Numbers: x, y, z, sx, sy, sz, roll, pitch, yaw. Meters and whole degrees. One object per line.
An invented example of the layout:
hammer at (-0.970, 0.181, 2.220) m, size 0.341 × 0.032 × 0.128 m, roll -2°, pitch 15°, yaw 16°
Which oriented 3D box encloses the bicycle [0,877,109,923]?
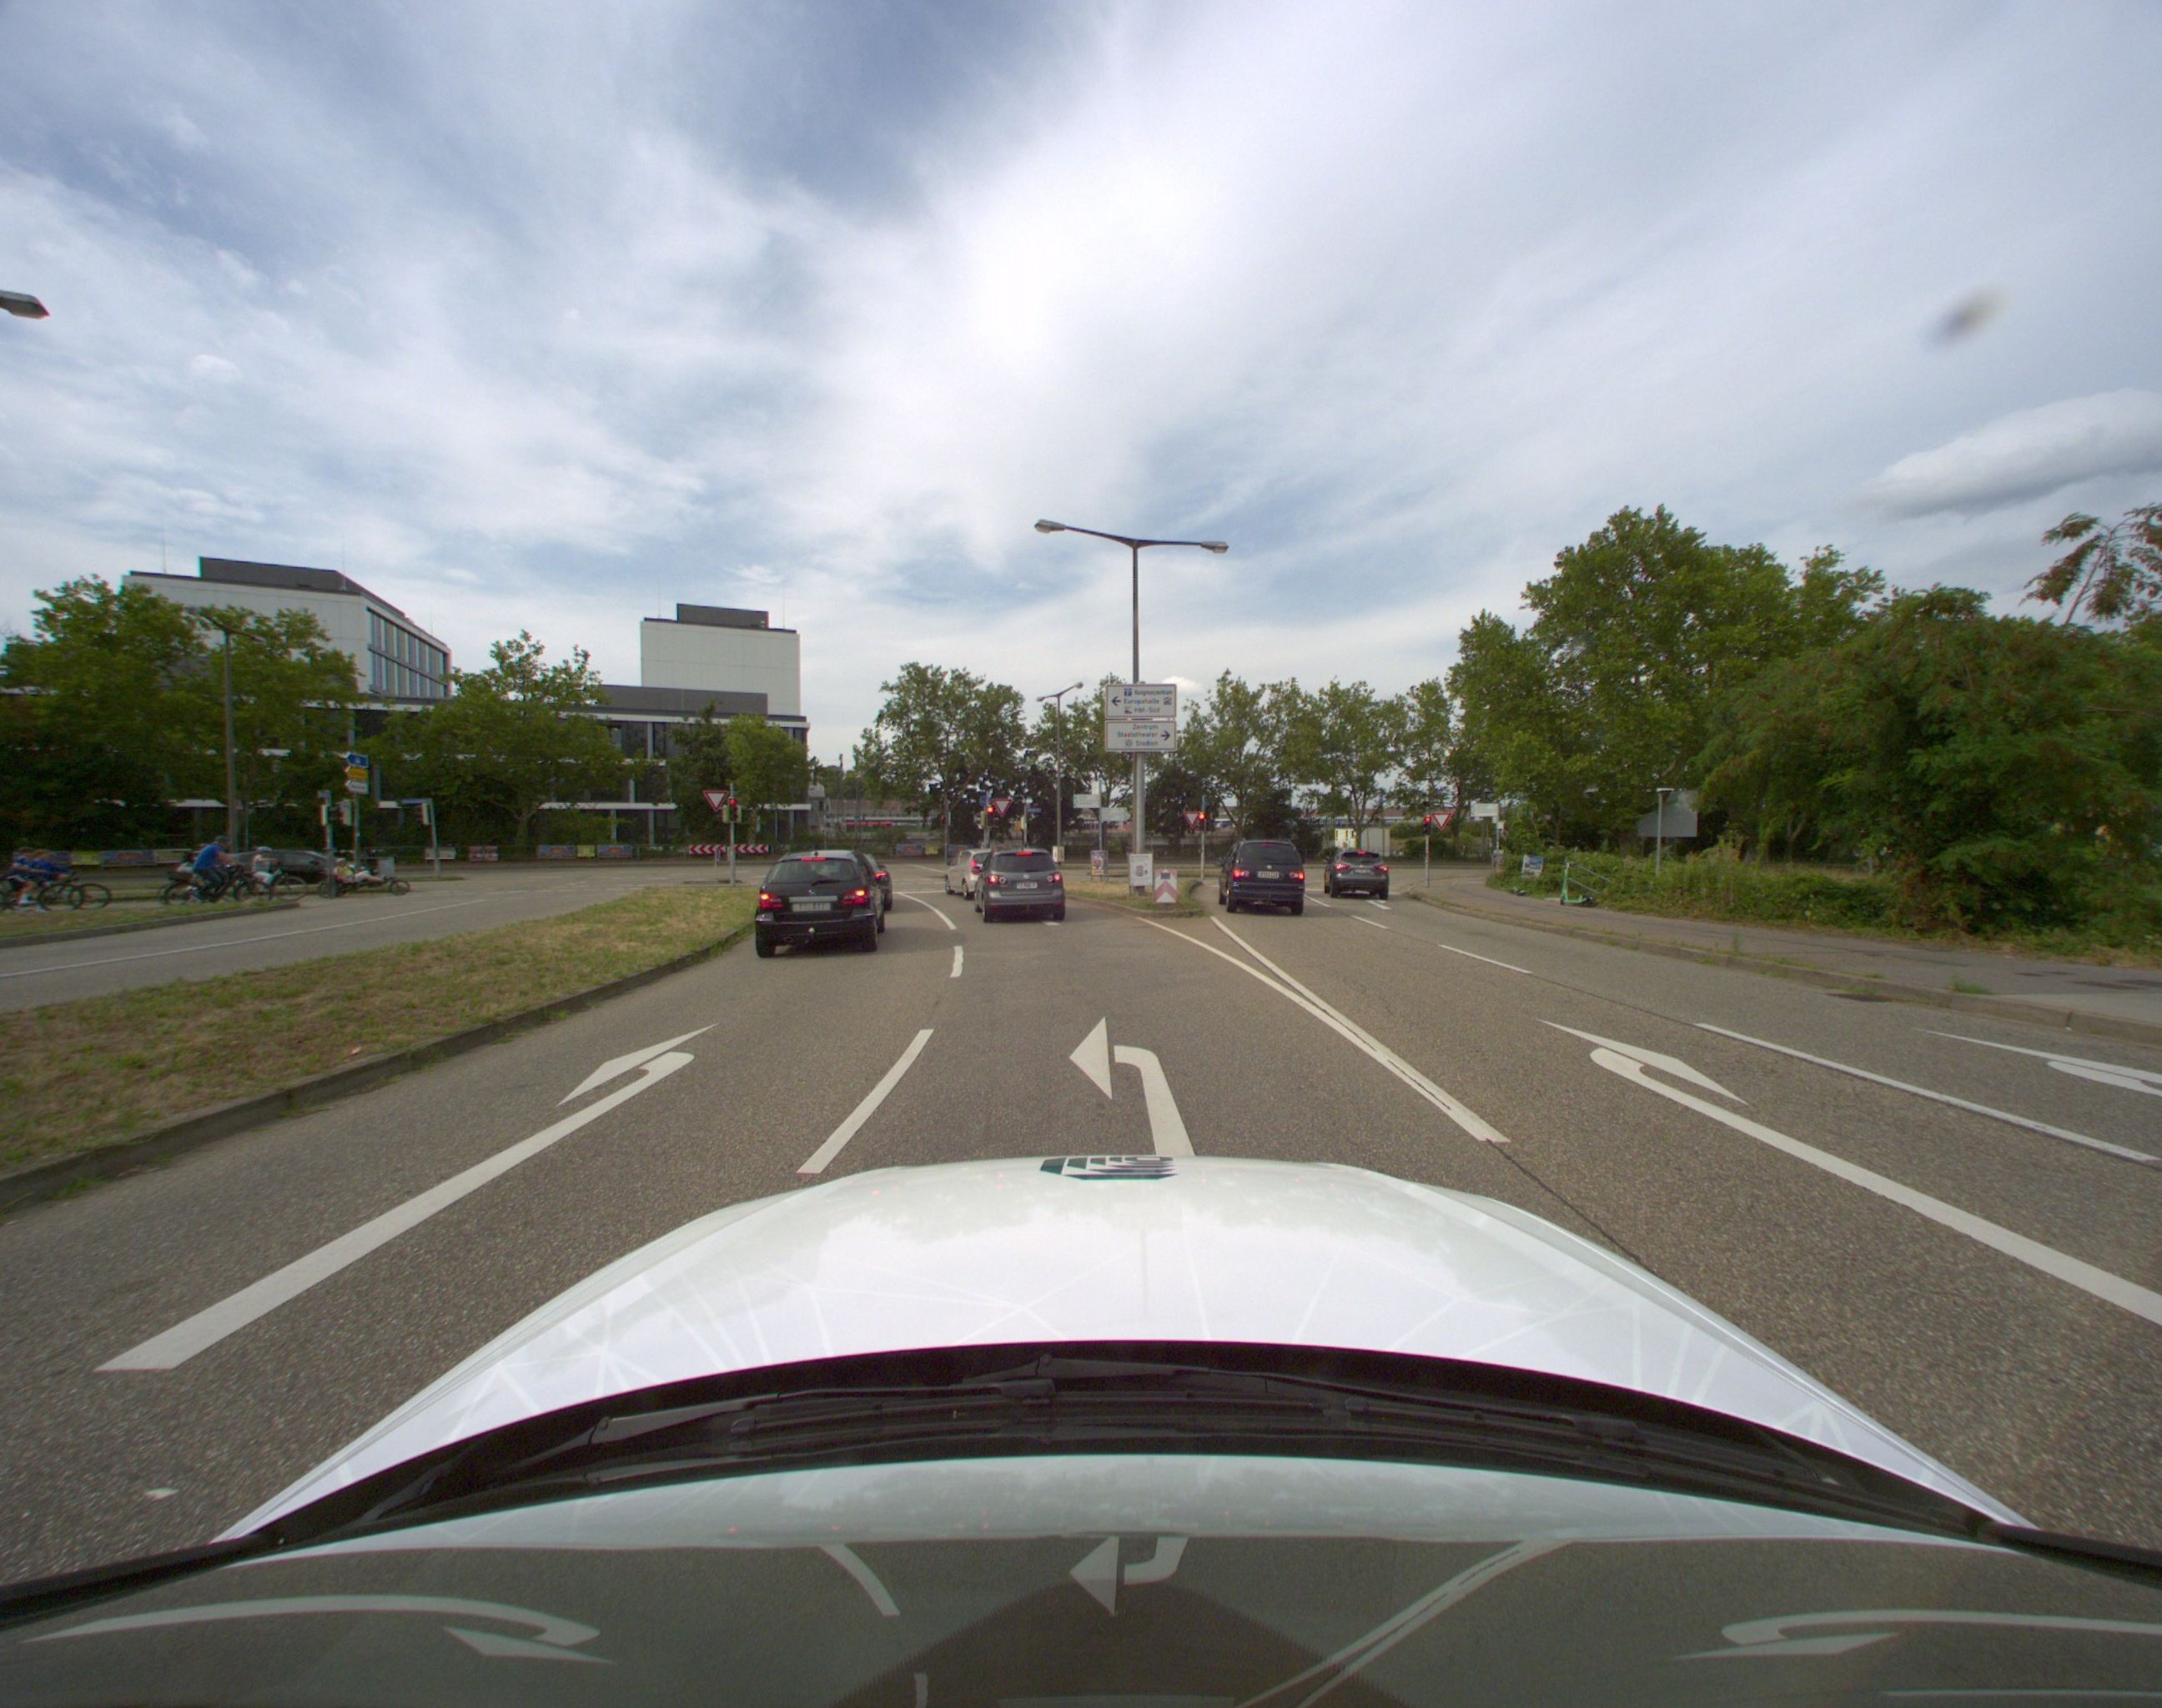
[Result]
bicycle at (-25.704, 1.142, 20.260) m, size 0.620 × 1.013 × 1.919 m, roll 0°, pitch 2°, yaw 42°

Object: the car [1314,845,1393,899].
car at (9.066, 0.550, 27.406) m, size 1.741 × 1.643 × 4.146 m, roll 1°, pitch 0°, yaw 7°

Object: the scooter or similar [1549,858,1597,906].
scooter or similar at (12.783, 0.710, 21.192) m, size 0.395 × 1.183 × 1.278 m, roll -1°, pitch 0°, yaw -4°

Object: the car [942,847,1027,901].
car at (-3.058, 0.560, 25.104) m, size 1.747 × 1.482 × 4.055 m, roll -1°, pitch 0°, yaw -19°

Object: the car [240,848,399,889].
car at (-28.321, 0.503, 30.480) m, size 4.087 × 1.368 × 1.685 m, roll -1°, pitch 1°, yaw -34°

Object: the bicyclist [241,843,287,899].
bicyclist at (-23.476, 0.475, 23.410) m, size 0.785 × 1.581 × 0.648 m, roll -1°, pitch 1°, yaw -34°

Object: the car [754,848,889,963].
car at (-4.234, 0.727, 13.837) m, size 1.758 × 1.575 × 4.021 m, roll 0°, pitch 1°, yaw -12°

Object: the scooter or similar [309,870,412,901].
scooter or similar at (-22.912, 0.972, 25.957) m, size 2.398 × 0.849 × 0.799 m, roll -2°, pitch 2°, yaw -39°

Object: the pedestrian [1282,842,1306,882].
pedestrian at (9.434, 0.343, 36.098) m, size 1.040 × 1.710 × 0.857 m, roll 0°, pitch 1°, yaw 13°

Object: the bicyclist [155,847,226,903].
bicyclist at (-23.871, 0.539, 21.851) m, size 1.121 × 1.436 × 0.641 m, roll -2°, pitch 2°, yaw -34°

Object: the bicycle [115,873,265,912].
bicycle at (-23.840, 1.009, 21.881) m, size 2.602 × 0.890 × 0.697 m, roll -1°, pitch 1°, yaw -33°

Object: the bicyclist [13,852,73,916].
bicyclist at (-25.734, 0.731, 20.213) m, size 0.620 × 1.529 × 0.846 m, roll 0°, pitch 1°, yaw 42°

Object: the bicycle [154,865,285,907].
bicycle at (-21.993, 0.793, 20.829) m, size 0.801 × 0.952 × 2.249 m, roll 0°, pitch 1°, yaw 41°

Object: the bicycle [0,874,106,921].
bicycle at (-25.087, 1.032, 19.698) m, size 0.620 × 1.013 × 1.919 m, roll 0°, pitch 2°, yaw 40°

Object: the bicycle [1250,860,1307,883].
bicycle at (8.457, 0.748, 34.926) m, size 2.221 × 0.952 × 0.811 m, roll -1°, pitch 1°, yaw -1°

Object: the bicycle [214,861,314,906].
bicycle at (-23.467, 0.826, 23.432) m, size 1.915 × 1.210 × 0.636 m, roll -1°, pitch 1°, yaw -34°

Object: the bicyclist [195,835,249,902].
bicyclist at (-21.992, 0.359, 20.849) m, size 0.801 × 1.656 × 0.889 m, roll 0°, pitch 1°, yaw 41°

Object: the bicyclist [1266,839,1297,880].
bicyclist at (8.601, 0.222, 34.931) m, size 1.108 × 1.696 × 0.813 m, roll -1°, pitch 1°, yaw 0°

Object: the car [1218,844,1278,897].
car at (5.527, 0.504, 27.320) m, size 1.681 × 1.585 × 4.165 m, roll 1°, pitch 0°, yaw 8°

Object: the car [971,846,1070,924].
car at (-1.485, 0.612, 18.553) m, size 1.742 × 1.546 × 4.065 m, roll -1°, pitch 0°, yaw -12°

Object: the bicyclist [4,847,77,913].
bicyclist at (-25.106, 0.610, 19.671) m, size 0.620 × 1.539 × 1.026 m, roll 0°, pitch 1°, yaw 40°

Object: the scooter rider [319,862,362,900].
scooter rider at (-23.307, 0.837, 25.635) m, size 0.921 × 1.137 × 0.799 m, roll -1°, pitch 1°, yaw -38°

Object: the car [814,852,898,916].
car at (-5.975, 0.687, 21.280) m, size 1.824 × 1.414 × 4.746 m, roll 0°, pitch 1°, yaw -19°

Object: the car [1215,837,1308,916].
car at (4.345, 0.491, 20.144) m, size 1.742 × 1.725 × 4.144 m, roll 1°, pitch 0°, yaw 6°
